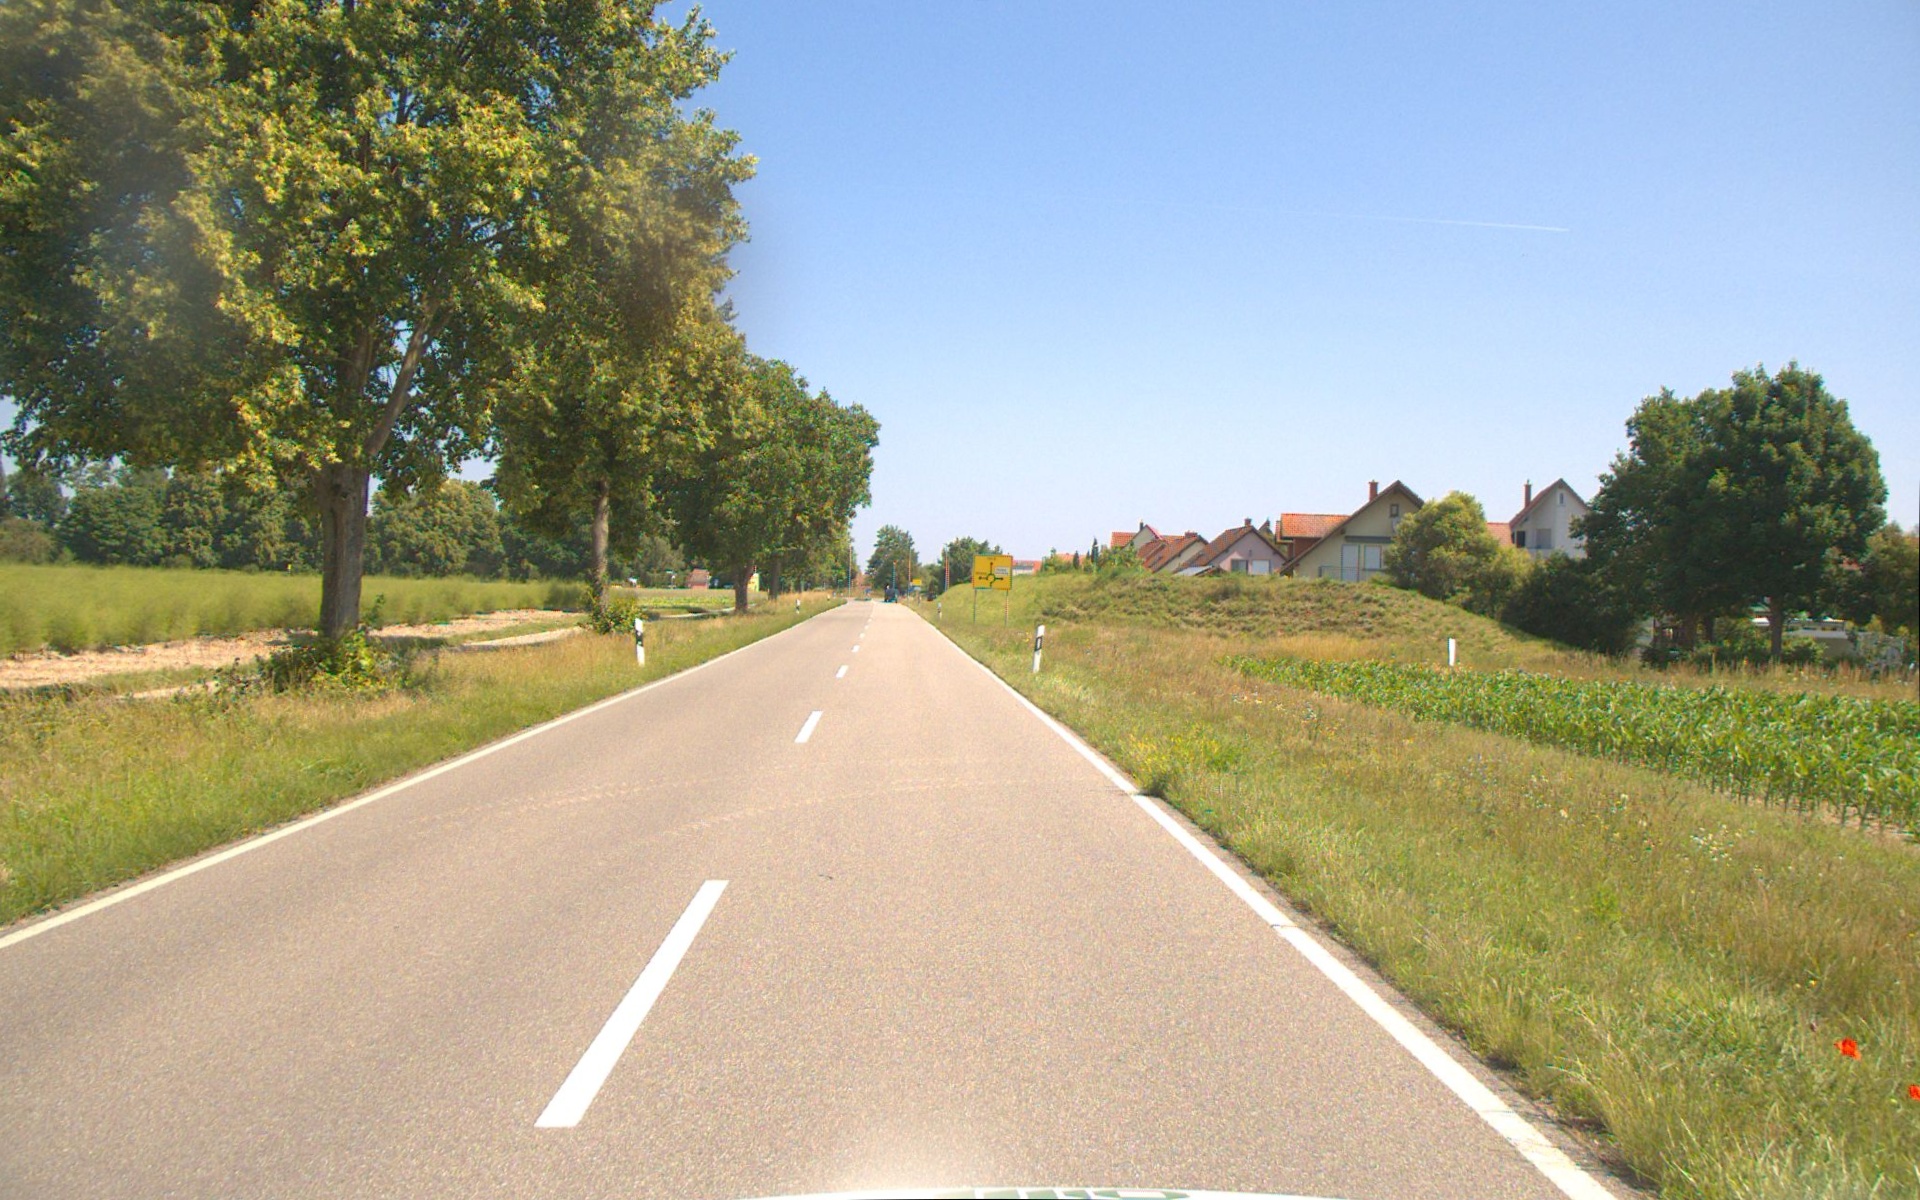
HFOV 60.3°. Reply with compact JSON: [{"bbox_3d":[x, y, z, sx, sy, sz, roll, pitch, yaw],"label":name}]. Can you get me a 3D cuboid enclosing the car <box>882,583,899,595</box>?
[{"bbox_3d":[-9.174,-1.452,218.945,1.800,1.563,3.612,1,0,3],"label":"car"}]
